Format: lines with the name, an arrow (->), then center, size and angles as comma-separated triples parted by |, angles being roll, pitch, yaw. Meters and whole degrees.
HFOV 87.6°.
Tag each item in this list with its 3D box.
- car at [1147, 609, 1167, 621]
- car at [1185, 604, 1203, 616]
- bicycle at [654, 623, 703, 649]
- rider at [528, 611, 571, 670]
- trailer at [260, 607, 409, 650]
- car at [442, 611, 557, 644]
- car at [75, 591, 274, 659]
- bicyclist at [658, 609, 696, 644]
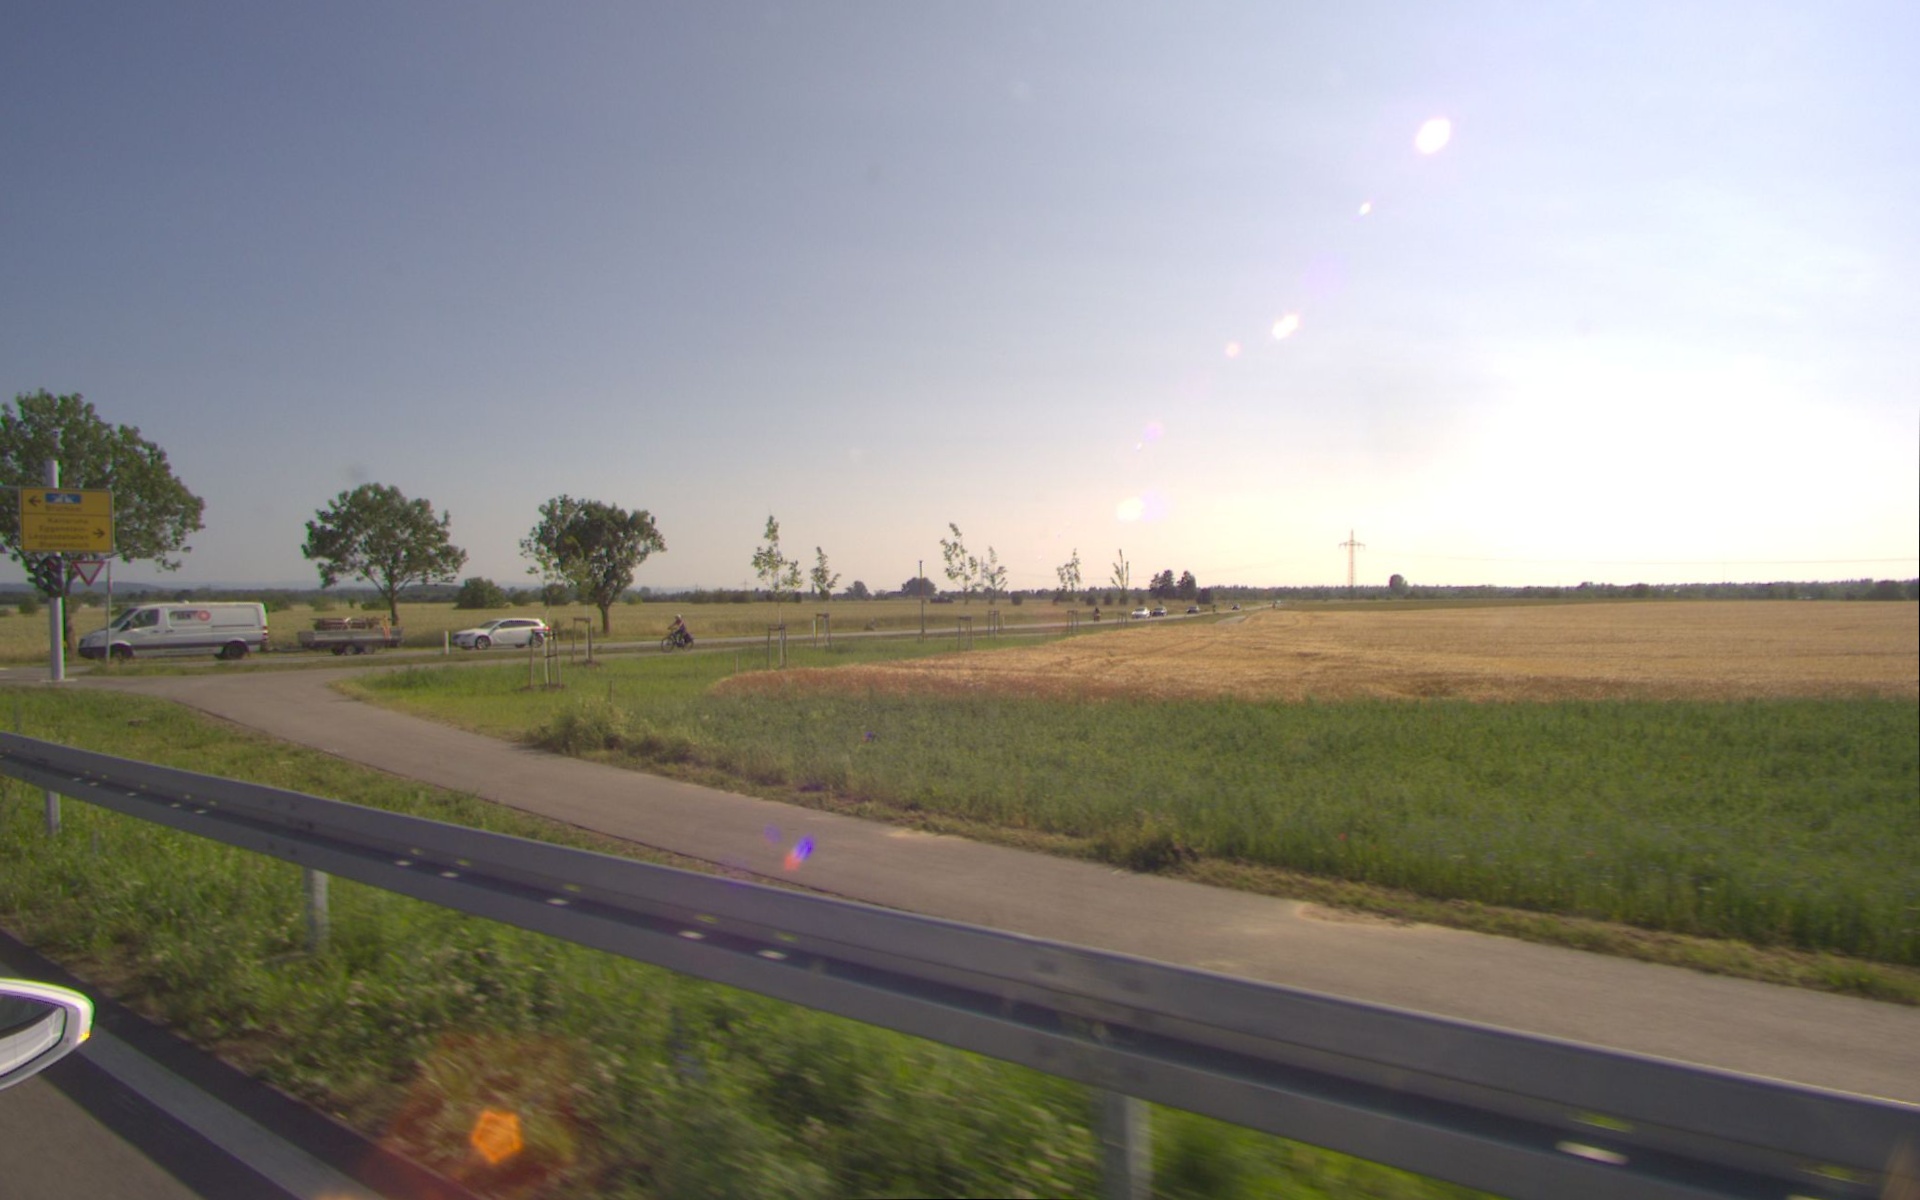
car -> 29.426, 2.245, 149.612 | 1.987, 1.610, 4.871 | 2, 0, 23
car -> 42.134, 1.749, 180.226 | 1.967, 1.715, 4.865 | 4, 4, 25
bicycle -> -13.372, 1.701, 47.646 | 0.879, 1.201, 2.148 | -1, -1, 37
rider -> -11.894, 1.179, 29.054 | 0.972, 1.665, 0.821 | 0, 2, -6
trailer -> -27.414, 1.205, 44.030 | 1.931, 1.776, 5.236 | -1, 0, 40
car -> -22.891, 1.388, 49.914 | 1.975, 1.529, 4.852 | -1, -2, 37
car -> -30.992, 1.022, 39.724 | 1.977, 2.524, 5.931 | -1, -2, 40
bicyclist -> -13.424, 1.232, 47.532 | 1.150, 1.623, 1.274 | 1, 0, 38
